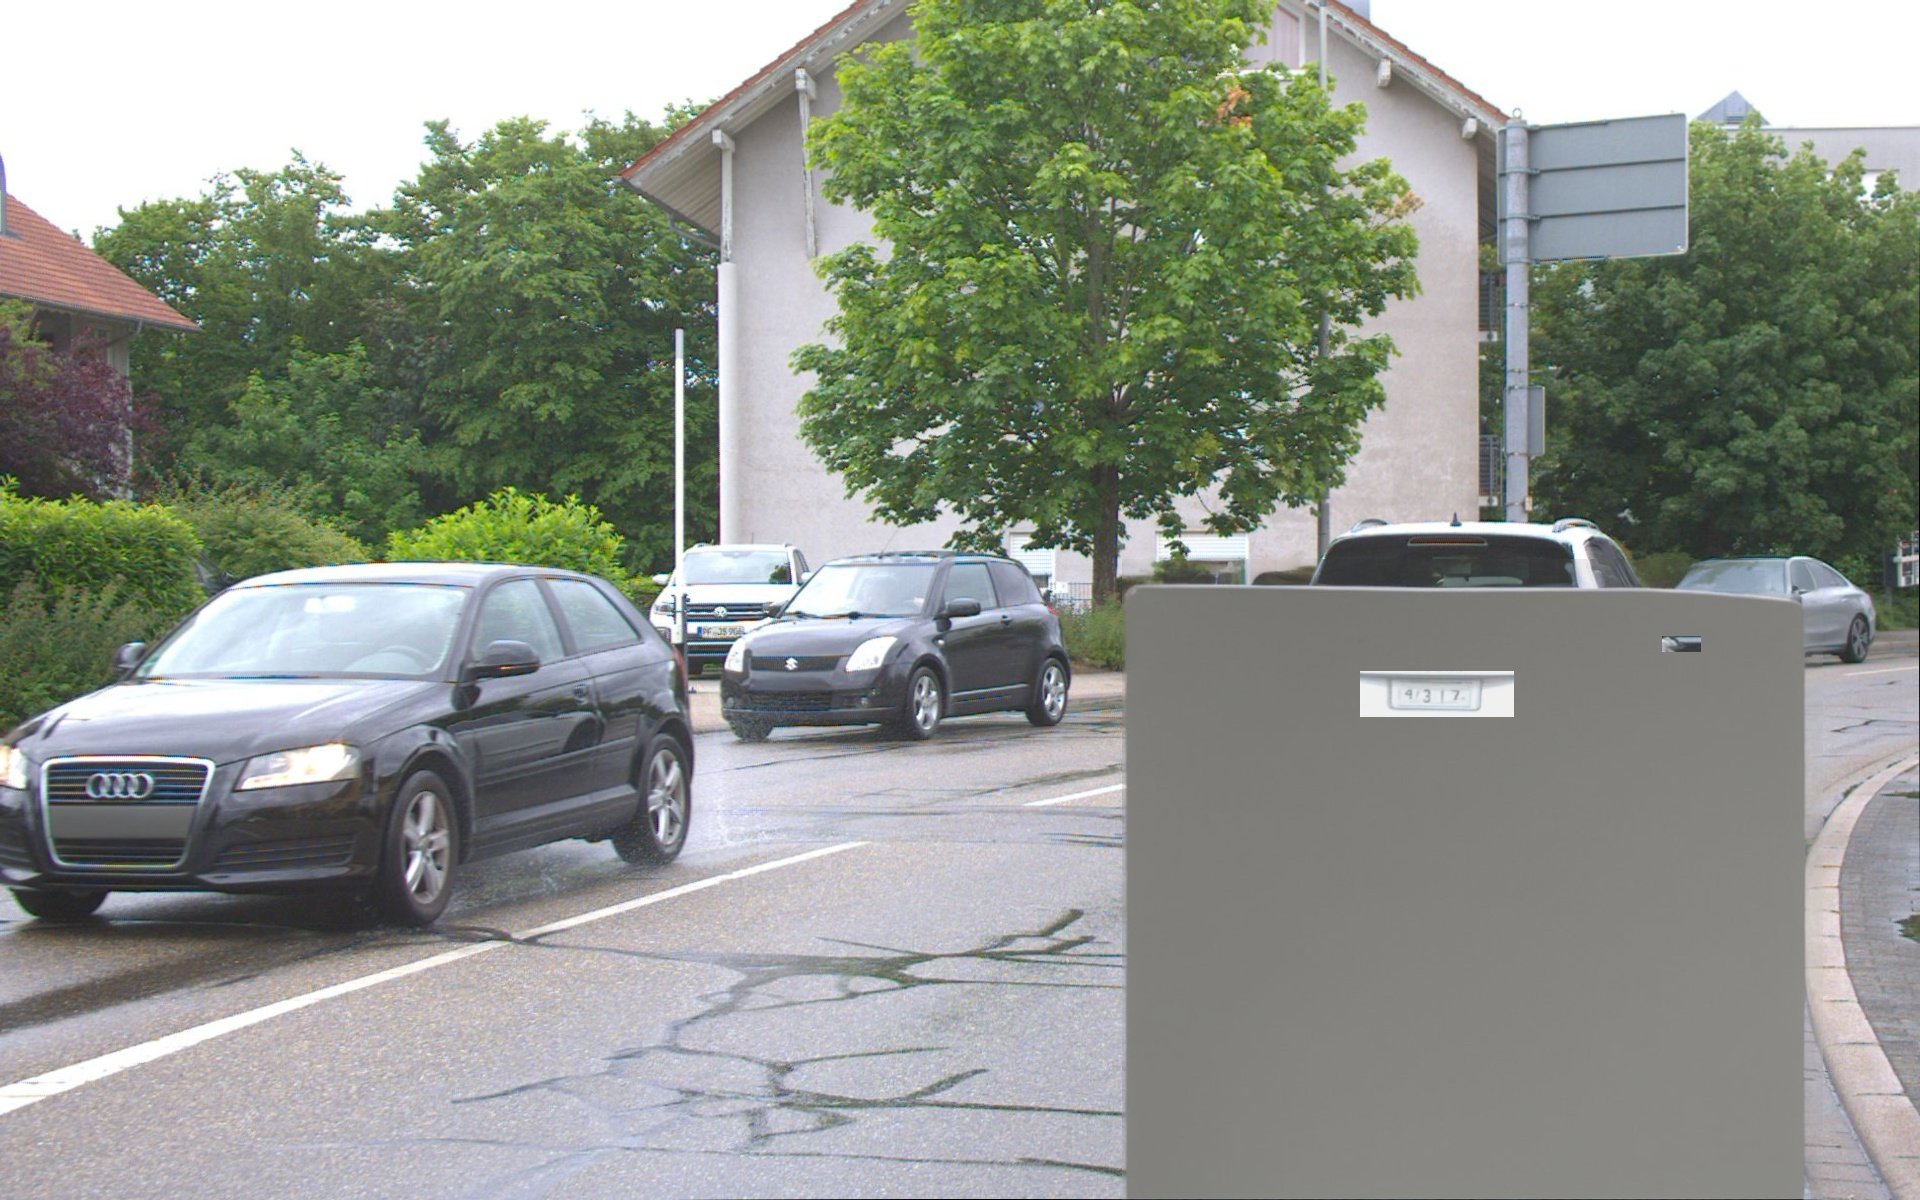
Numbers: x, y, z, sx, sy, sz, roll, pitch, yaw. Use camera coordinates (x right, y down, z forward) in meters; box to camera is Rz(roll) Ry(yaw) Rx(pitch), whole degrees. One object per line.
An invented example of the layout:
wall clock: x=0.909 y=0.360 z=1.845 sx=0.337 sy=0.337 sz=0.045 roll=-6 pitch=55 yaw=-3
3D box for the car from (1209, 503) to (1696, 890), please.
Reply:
car: x=2.682 y=0.413 z=17.854 sx=1.922 sy=1.716 sz=4.262 roll=2 pitch=1 yaw=16

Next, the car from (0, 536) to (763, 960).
car: x=-2.517 y=0.501 z=14.827 sx=1.861 sy=1.513 sz=4.288 roll=1 pitch=1 yaw=18

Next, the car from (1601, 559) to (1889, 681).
car: x=10.143 y=0.216 z=44.211 sx=1.906 sy=1.386 sz=4.479 roll=2 pitch=3 yaw=37

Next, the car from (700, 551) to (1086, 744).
car: x=-0.474 y=0.342 z=27.987 sx=1.590 sy=1.417 sz=3.690 roll=-1 pitch=1 yaw=26

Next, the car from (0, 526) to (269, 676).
car: x=-9.837 y=0.046 z=40.595 sx=1.994 sy=1.645 sz=3.998 roll=1 pitch=-1 yaw=9

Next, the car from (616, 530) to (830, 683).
car: x=-2.713 y=0.104 z=40.205 sx=1.994 sy=1.645 sz=3.999 roll=1 pitch=-1 yaw=3
